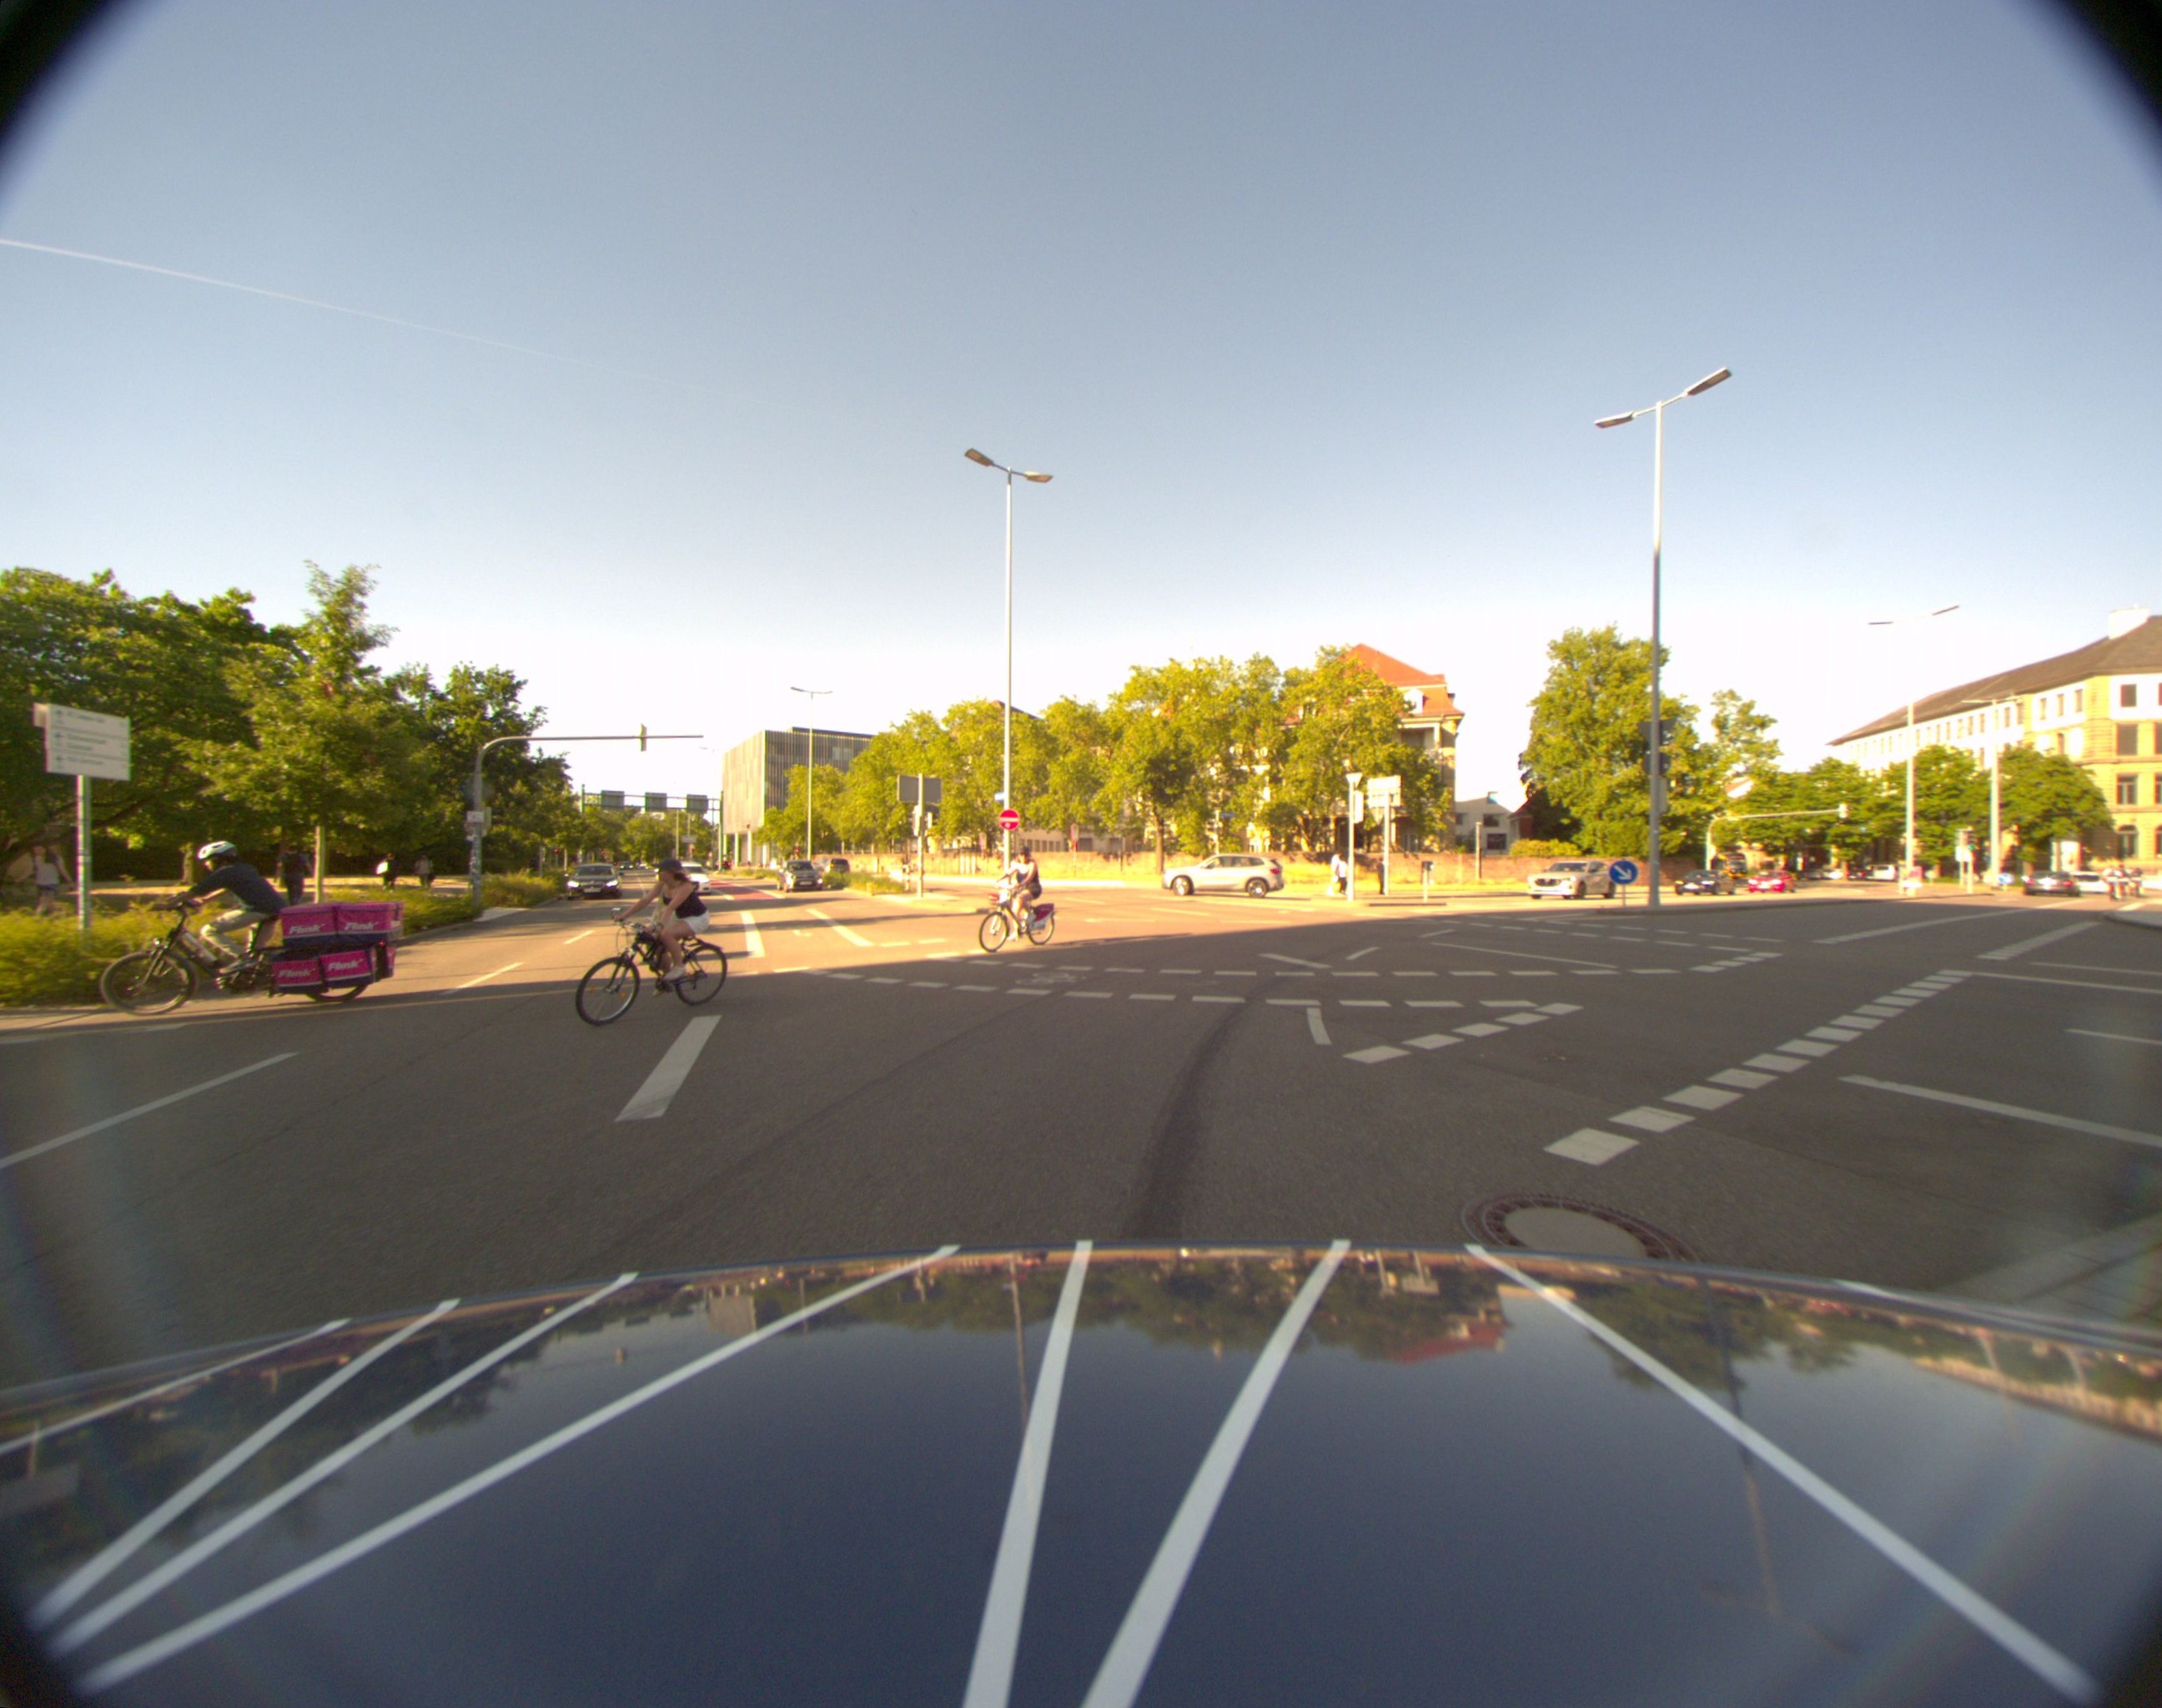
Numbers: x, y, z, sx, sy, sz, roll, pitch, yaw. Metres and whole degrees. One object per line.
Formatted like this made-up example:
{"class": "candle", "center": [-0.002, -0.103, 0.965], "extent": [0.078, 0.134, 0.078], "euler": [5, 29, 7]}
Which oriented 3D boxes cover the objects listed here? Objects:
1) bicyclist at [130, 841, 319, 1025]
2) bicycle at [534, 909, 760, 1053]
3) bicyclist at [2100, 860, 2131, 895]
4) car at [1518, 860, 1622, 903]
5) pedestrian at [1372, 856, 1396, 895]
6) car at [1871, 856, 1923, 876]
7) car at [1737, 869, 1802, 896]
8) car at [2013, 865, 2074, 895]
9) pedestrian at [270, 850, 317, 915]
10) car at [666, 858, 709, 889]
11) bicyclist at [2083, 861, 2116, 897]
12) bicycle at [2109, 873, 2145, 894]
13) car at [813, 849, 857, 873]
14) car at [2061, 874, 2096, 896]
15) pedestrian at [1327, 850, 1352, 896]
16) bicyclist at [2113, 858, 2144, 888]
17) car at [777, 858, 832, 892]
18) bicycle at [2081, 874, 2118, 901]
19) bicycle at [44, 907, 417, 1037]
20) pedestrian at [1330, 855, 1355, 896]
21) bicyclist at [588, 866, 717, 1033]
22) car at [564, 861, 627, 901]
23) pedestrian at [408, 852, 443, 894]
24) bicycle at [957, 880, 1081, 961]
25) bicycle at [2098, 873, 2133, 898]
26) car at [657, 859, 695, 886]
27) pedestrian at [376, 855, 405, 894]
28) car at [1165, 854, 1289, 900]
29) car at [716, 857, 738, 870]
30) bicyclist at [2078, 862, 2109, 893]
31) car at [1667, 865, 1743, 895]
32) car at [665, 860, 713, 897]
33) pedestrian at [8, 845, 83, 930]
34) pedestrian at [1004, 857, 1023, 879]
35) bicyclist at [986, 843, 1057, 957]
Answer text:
{"class": "bicyclist", "center": [-9.047, 0.785, 8.088], "extent": [1.094, 1.823, 0.779], "euler": [0, 0, -21]}
{"class": "bicycle", "center": [-4.223, 1.174, 7.588], "extent": [0.718, 1.115, 1.872], "euler": [-1, 0, 23]}
{"class": "bicyclist", "center": [50.985, 1.155, 37.456], "extent": [1.064, 1.658, 0.763], "euler": [0, -1, -31]}
{"class": "car", "center": [20.655, 1.112, 32.040], "extent": [4.615, 1.673, 2.190], "euler": [0, -2, -37]}
{"class": "pedestrian", "center": [13.317, 0.923, 33.371], "extent": [0.792, 1.644, 0.713], "euler": [2, 4, 11]}
{"class": "car", "center": [93.631, 1.415, 87.203], "extent": [4.152, 2.002, 1.998], "euler": [-4, 1, -9]}
{"class": "car", "center": [43.786, 1.794, 48.284], "extent": [4.615, 1.576, 2.190], "euler": [0, -2, -37]}
{"class": "car", "center": [53.833, 1.416, 42.495], "extent": [3.985, 1.436, 1.802], "euler": [-2, 0, -34]}
{"class": "pedestrian", "center": [-21.081, 0.745, 20.352], "extent": [0.714, 1.703, 0.732], "euler": [0, 0, -31]}
{"class": "car", "center": [-20.875, 0.988, 40.307], "extent": [1.928, 1.510, 4.008], "euler": [0, 0, -28]}
{"class": "bicyclist", "center": [47.392, 1.164, 35.352], "extent": [1.064, 1.658, 0.763], "euler": [0, -1, -31]}
{"class": "bicycle", "center": [58.726, 1.641, 42.646], "extent": [2.192, 1.091, 0.880], "euler": [0, 0, -28]}
{"class": "car", "center": [-18.378, 0.491, 56.636], "extent": [2.004, 1.674, 4.617], "euler": [0, 0, -33]}
{"class": "car", "center": [66.572, 2.029, 50.726], "extent": [3.511, 1.330, 1.380], "euler": [0, 0, -37]}
{"class": "pedestrian", "center": [11.098, 0.795, 32.602], "extent": [0.871, 1.884, 0.713], "euler": [2, 4, 12]}
{"class": "bicyclist", "center": [58.557, 1.053, 42.468], "extent": [0.945, 1.643, 0.864], "euler": [0, 0, -27]}
{"class": "car", "center": [-13.163, 0.955, 36.015], "extent": [1.928, 1.510, 4.008], "euler": [0, 0, -28]}
{"class": "bicycle", "center": [47.346, 1.553, 35.316], "extent": [2.610, 1.179, 0.763], "euler": [0, -2, -31]}
{"class": "bicycle", "center": [-8.904, 1.198, 8.138], "extent": [2.583, 1.149, 0.779], "euler": [0, 0, -21]}
{"class": "pedestrian", "center": [10.967, 0.887, 31.916], "extent": [0.871, 1.665, 0.713], "euler": [2, 4, 12]}
{"class": "bicyclist", "center": [-4.241, 0.902, 7.559], "extent": [0.716, 1.539, 0.851], "euler": [-2, -1, 23]}
{"class": "car", "center": [-19.789, 1.055, 31.117], "extent": [1.806, 1.510, 3.991], "euler": [0, 0, -28]}
{"class": "pedestrian", "center": [-27.462, 0.782, 31.844], "extent": [1.021, 1.739, 0.847], "euler": [1, 0, -36]}
{"class": "bicycle", "center": [-0.973, 1.048, 12.498], "extent": [0.717, 1.115, 2.070], "euler": [-1, 1, 42]}
{"class": "bicycle", "center": [51.001, 1.543, 37.458], "extent": [2.610, 1.179, 0.763], "euler": [0, -2, -31]}
{"class": "car", "center": [-24.475, 1.101, 45.947], "extent": [1.928, 1.510, 4.008], "euler": [0, 0, -28]}
{"class": "pedestrian", "center": [-27.482, 0.813, 30.255], "extent": [0.764, 1.534, 0.845], "euler": [1, 0, -36]}
{"class": "car", "center": [5.447, 0.825, 28.287], "extent": [4.355, 1.611, 2.159], "euler": [0, 0, 13]}
{"class": "car", "center": [-44.666, 1.207, 95.907], "extent": [2.004, 1.586, 3.990], "euler": [0, 0, -33]}
{"class": "bicyclist", "center": [54.233, 1.232, 40.705], "extent": [0.946, 1.643, 0.864], "euler": [0, 0, -28]}
{"class": "car", "center": [34.273, 1.405, 41.692], "extent": [4.615, 1.576, 2.190], "euler": [0, -2, -37]}
{"class": "car", "center": [-17.551, 1.032, 34.035], "extent": [1.806, 1.510, 4.421], "euler": [0, 0, -28]}
{"class": "pedestrian", "center": [-21.484, 0.673, 15.780], "extent": [0.677, 1.694, 0.874], "euler": [0, 0, -36]}
{"class": "pedestrian", "center": [-4.749, 0.951, 53.403], "extent": [0.975, 1.527, 0.920], "euler": [0, 0, -30]}
{"class": "bicyclist", "center": [-0.973, 0.723, 12.510], "extent": [0.715, 1.778, 0.851], "euler": [-1, 1, 42]}
